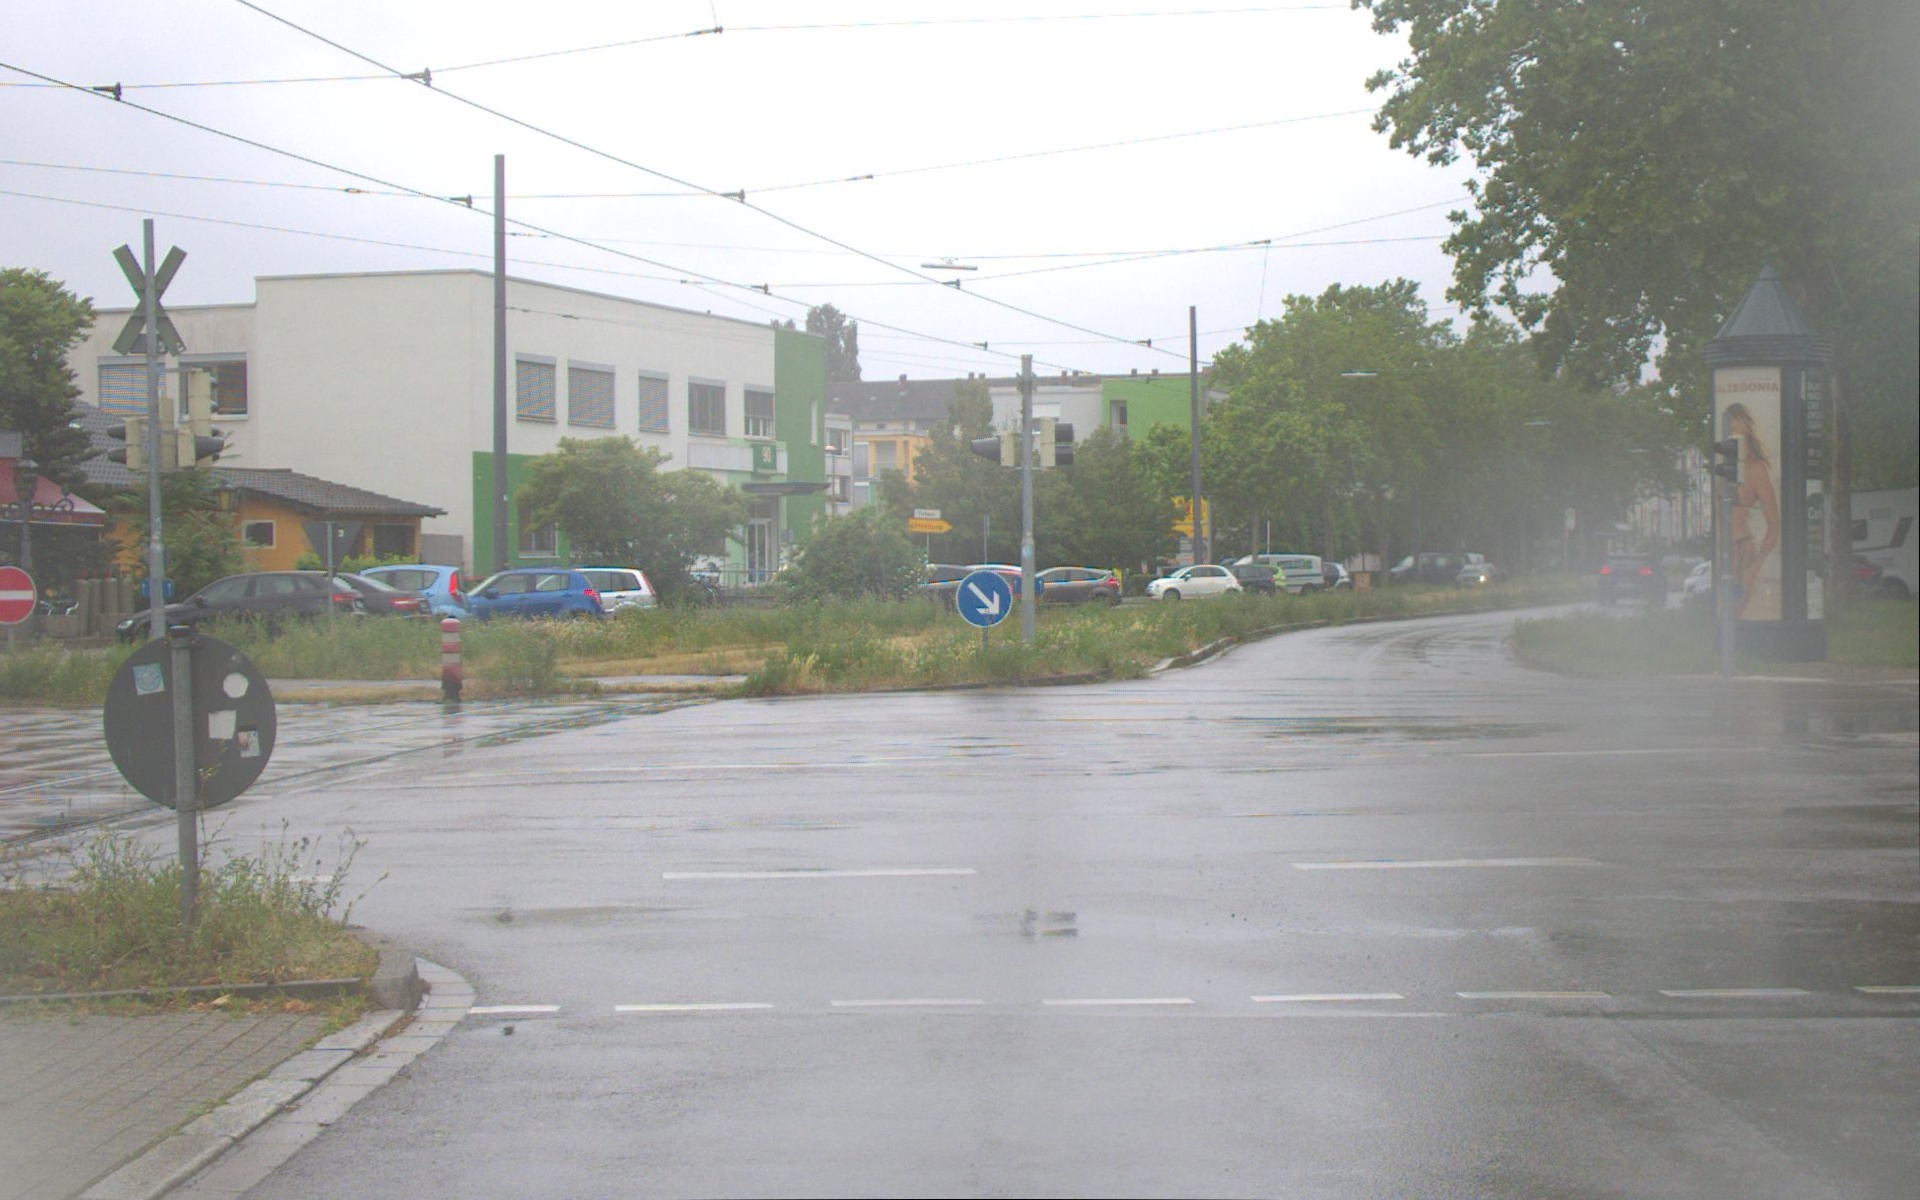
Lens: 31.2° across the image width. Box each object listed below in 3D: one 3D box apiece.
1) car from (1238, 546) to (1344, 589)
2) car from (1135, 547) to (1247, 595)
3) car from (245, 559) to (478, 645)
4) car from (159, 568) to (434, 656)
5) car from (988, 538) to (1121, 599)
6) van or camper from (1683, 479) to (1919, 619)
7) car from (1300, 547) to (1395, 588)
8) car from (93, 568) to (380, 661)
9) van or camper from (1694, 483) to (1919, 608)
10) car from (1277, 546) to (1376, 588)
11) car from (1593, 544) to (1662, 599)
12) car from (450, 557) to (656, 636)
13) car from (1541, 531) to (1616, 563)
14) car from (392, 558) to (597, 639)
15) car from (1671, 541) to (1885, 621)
[{"bbox_3d":[13.946,-1.387,144.878,3.986,1.752,2.011,1,0,-11],"label":"car"},{"bbox_3d":[8.515,-1.080,126.773,3.773,1.697,1.837,1,0,-10],"label":"car"},{"bbox_3d":[-11.250,0.033,64.751,3.987,1.576,1.858,0,0,4],"label":"car"},{"bbox_3d":[-11.819,0.202,61.403,4.497,1.413,1.858,-2,0,1],"label":"car"},{"bbox_3d":[3.017,-1.013,110.242,3.986,1.881,2.000,1,0,-7],"label":"car"},{"bbox_3d":[20.860,-1.178,80.517,7.328,3.167,3.259,1,1,18],"label":"van or camper"},{"bbox_3d":[17.903,-1.510,158.921,3.986,1.826,2.000,1,0,-5],"label":"car"},{"bbox_3d":[-12.383,0.234,58.995,4.477,1.413,1.858,-2,0,1],"label":"car"},{"bbox_3d":[23.199,-1.419,89.634,7.434,3.167,3.259,1,1,22],"label":"van or camper"},{"bbox_3d":[16.382,-1.480,153.851,3.986,1.826,2.001,1,0,-11],"label":"car"},{"bbox_3d":[21.126,-0.895,108.741,1.807,1.680,3.908,1,1,16],"label":"car"},{"bbox_3d":[-8.640,-0.088,72.918,4.107,1.635,1.930,-1,0,-14],"label":"car"},{"bbox_3d":[36.573,-3.136,203.420,3.986,1.826,2.000,1,0,-5],"label":"car"},{"bbox_3d":[-9.455,-0.040,69.717,3.986,1.576,1.930,0,0,-11],"label":"car"},{"bbox_3d":[18.470,-0.443,77.601,4.449,1.711,1.998,1,1,21],"label":"car"}]
